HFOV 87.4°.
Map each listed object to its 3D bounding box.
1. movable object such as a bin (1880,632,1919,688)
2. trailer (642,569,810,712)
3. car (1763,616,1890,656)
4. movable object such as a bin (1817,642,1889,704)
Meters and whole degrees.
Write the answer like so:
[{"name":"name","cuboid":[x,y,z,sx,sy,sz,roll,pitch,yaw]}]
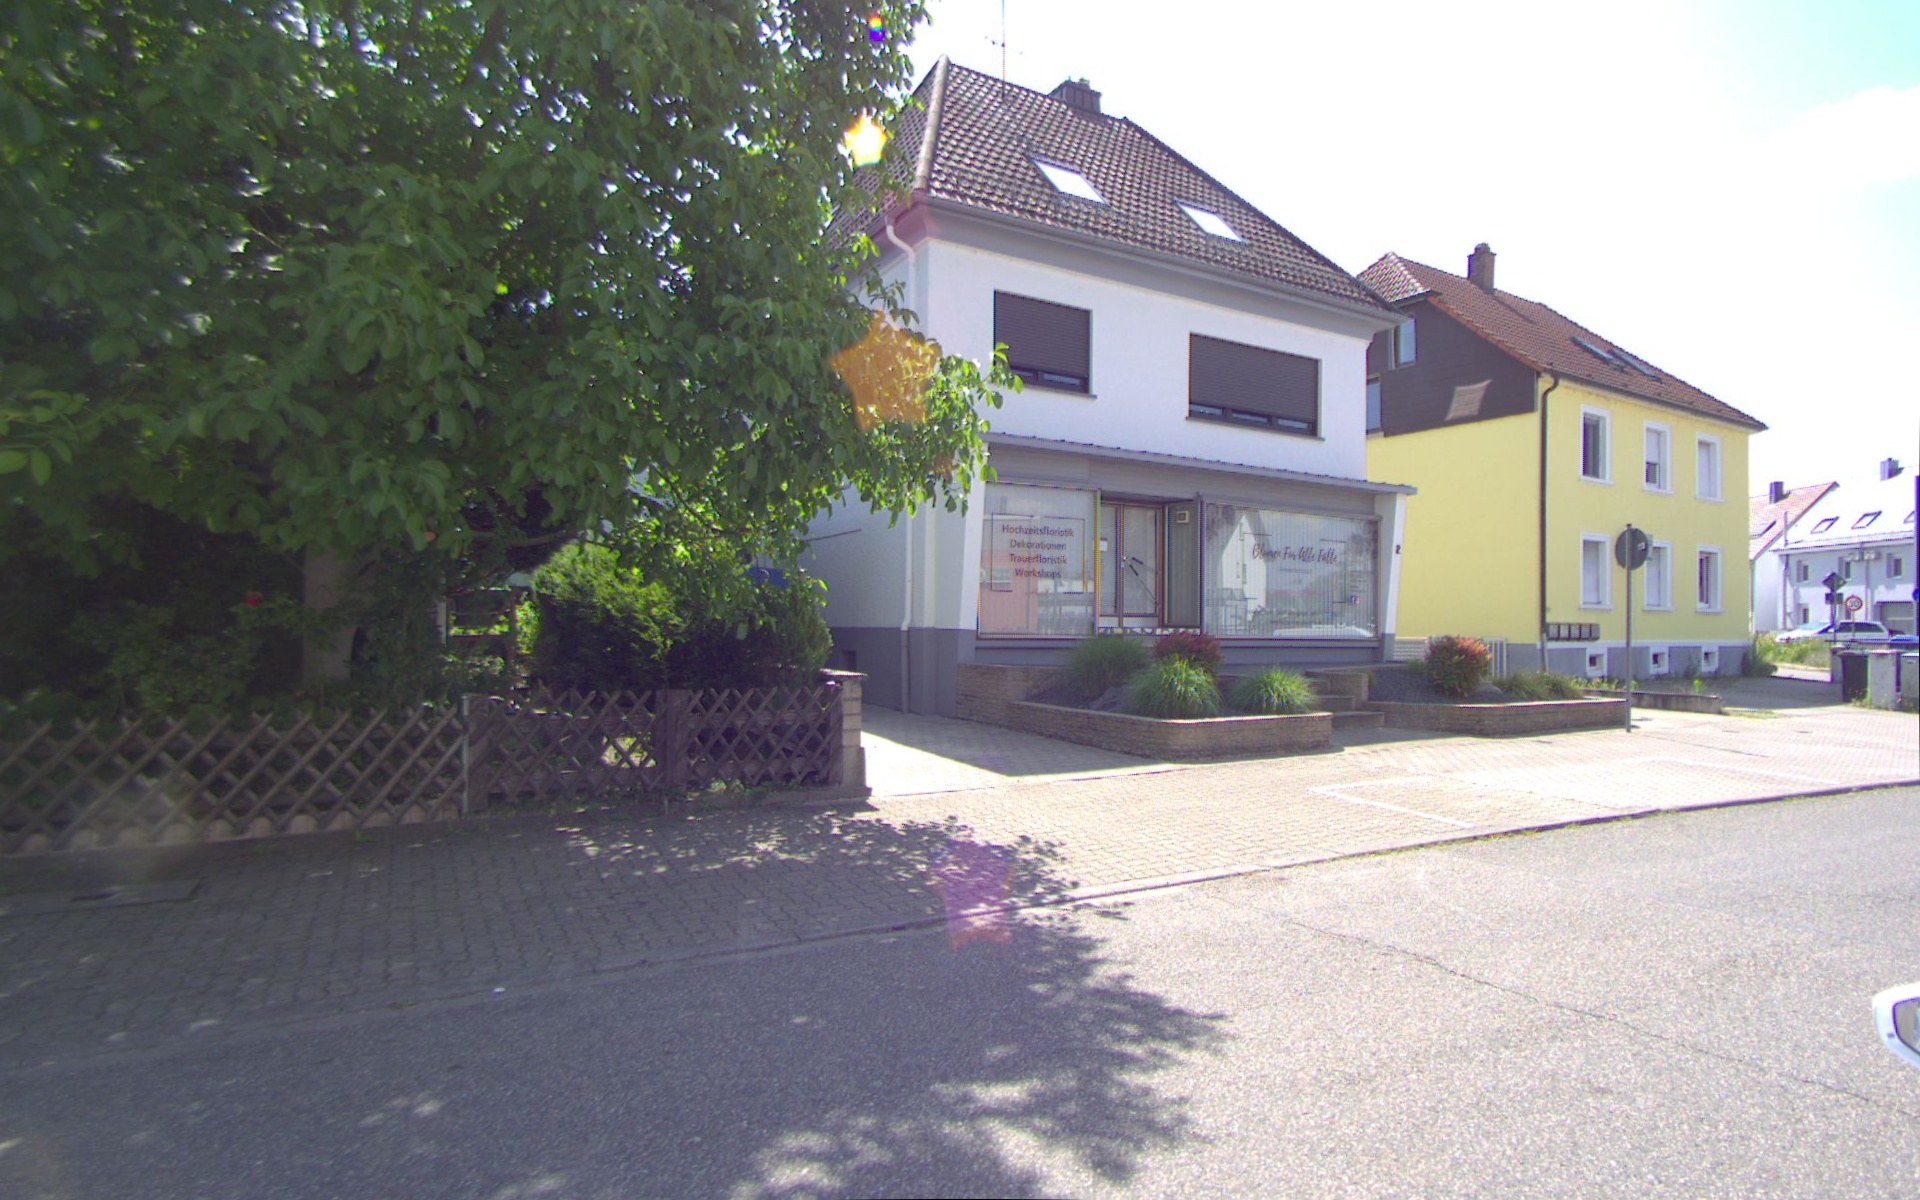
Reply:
[{"name":"movable object such as a bin","cuboid":[21.811,1.361,23.121,1.267,1.229,0.832,2,-1,-42]},{"name":"trailer","cuboid":[-3.976,0.612,16.761,1.658,2.141,3.147,2,0,-35]},{"name":"car","cuboid":[40.102,1.652,46.552,4.171,1.508,1.748,3,2,3]},{"name":"movable object such as a bin","cuboid":[18.980,1.541,21.358,0.891,1.241,0.882,2,0,-27]}]
